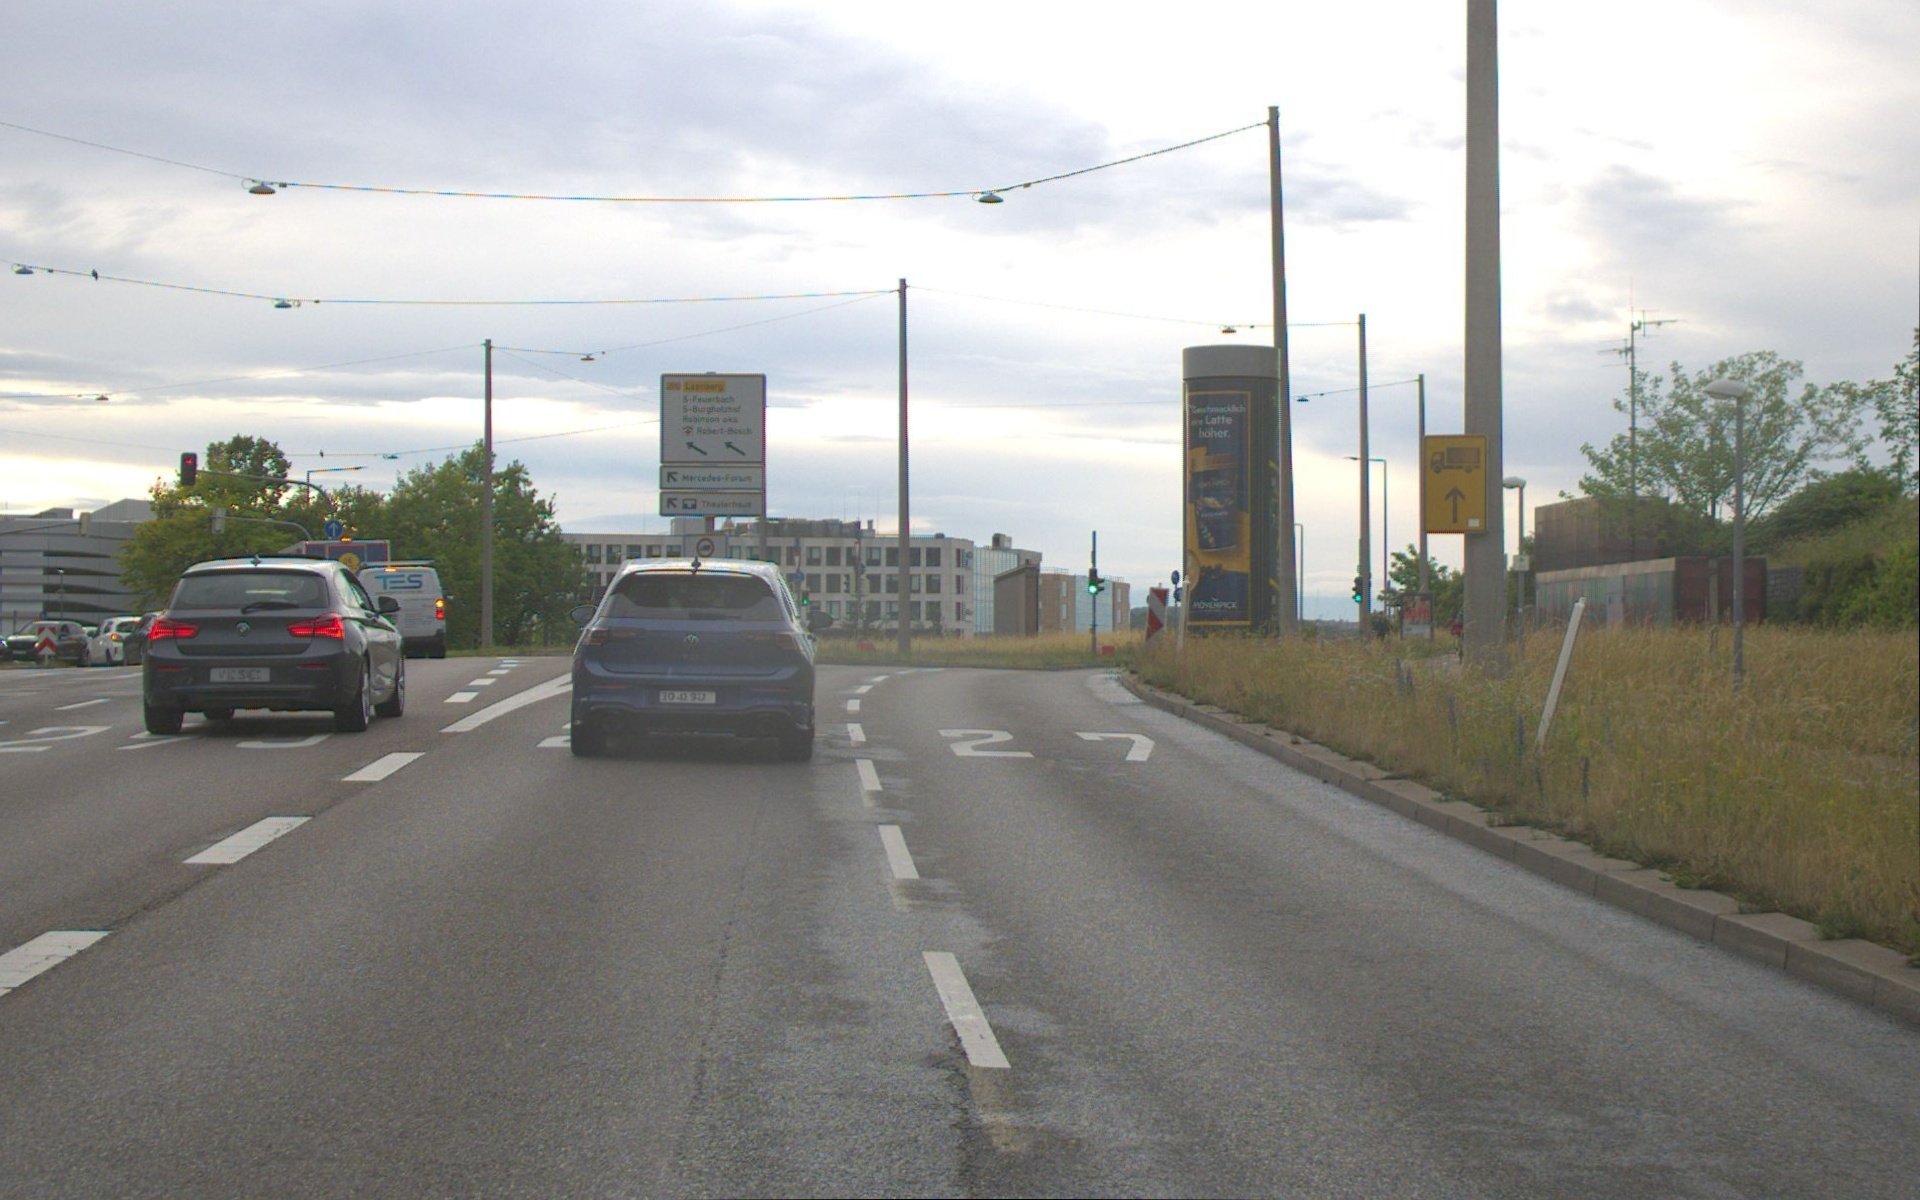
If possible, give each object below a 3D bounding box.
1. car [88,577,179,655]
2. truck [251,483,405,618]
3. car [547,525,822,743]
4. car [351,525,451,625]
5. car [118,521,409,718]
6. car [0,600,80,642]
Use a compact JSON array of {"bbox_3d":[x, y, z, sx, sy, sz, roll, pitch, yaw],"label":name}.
[{"bbox_3d":[-23.469,0.432,97.519,1.993,2.006,4.001,-2,2,-20],"label":"car"},{"bbox_3d":[-16.053,-1.218,86.987,2.665,3.209,6.550,2,0,-20],"label":"truck"},{"bbox_3d":[-2.009,0.196,26.083,1.838,1.389,4.001,2,2,-2],"label":"car"},{"bbox_3d":[-11.534,-0.483,70.757,1.904,1.966,5.093,0,-1,-10],"label":"car"},{"bbox_3d":[-5.792,0.110,29.014,1.869,1.456,3.977,1,2,-4],"label":"car"},{"bbox_3d":[-33.439,0.744,124.468,1.930,1.479,4.579,1,0,0],"label":"car"}]
